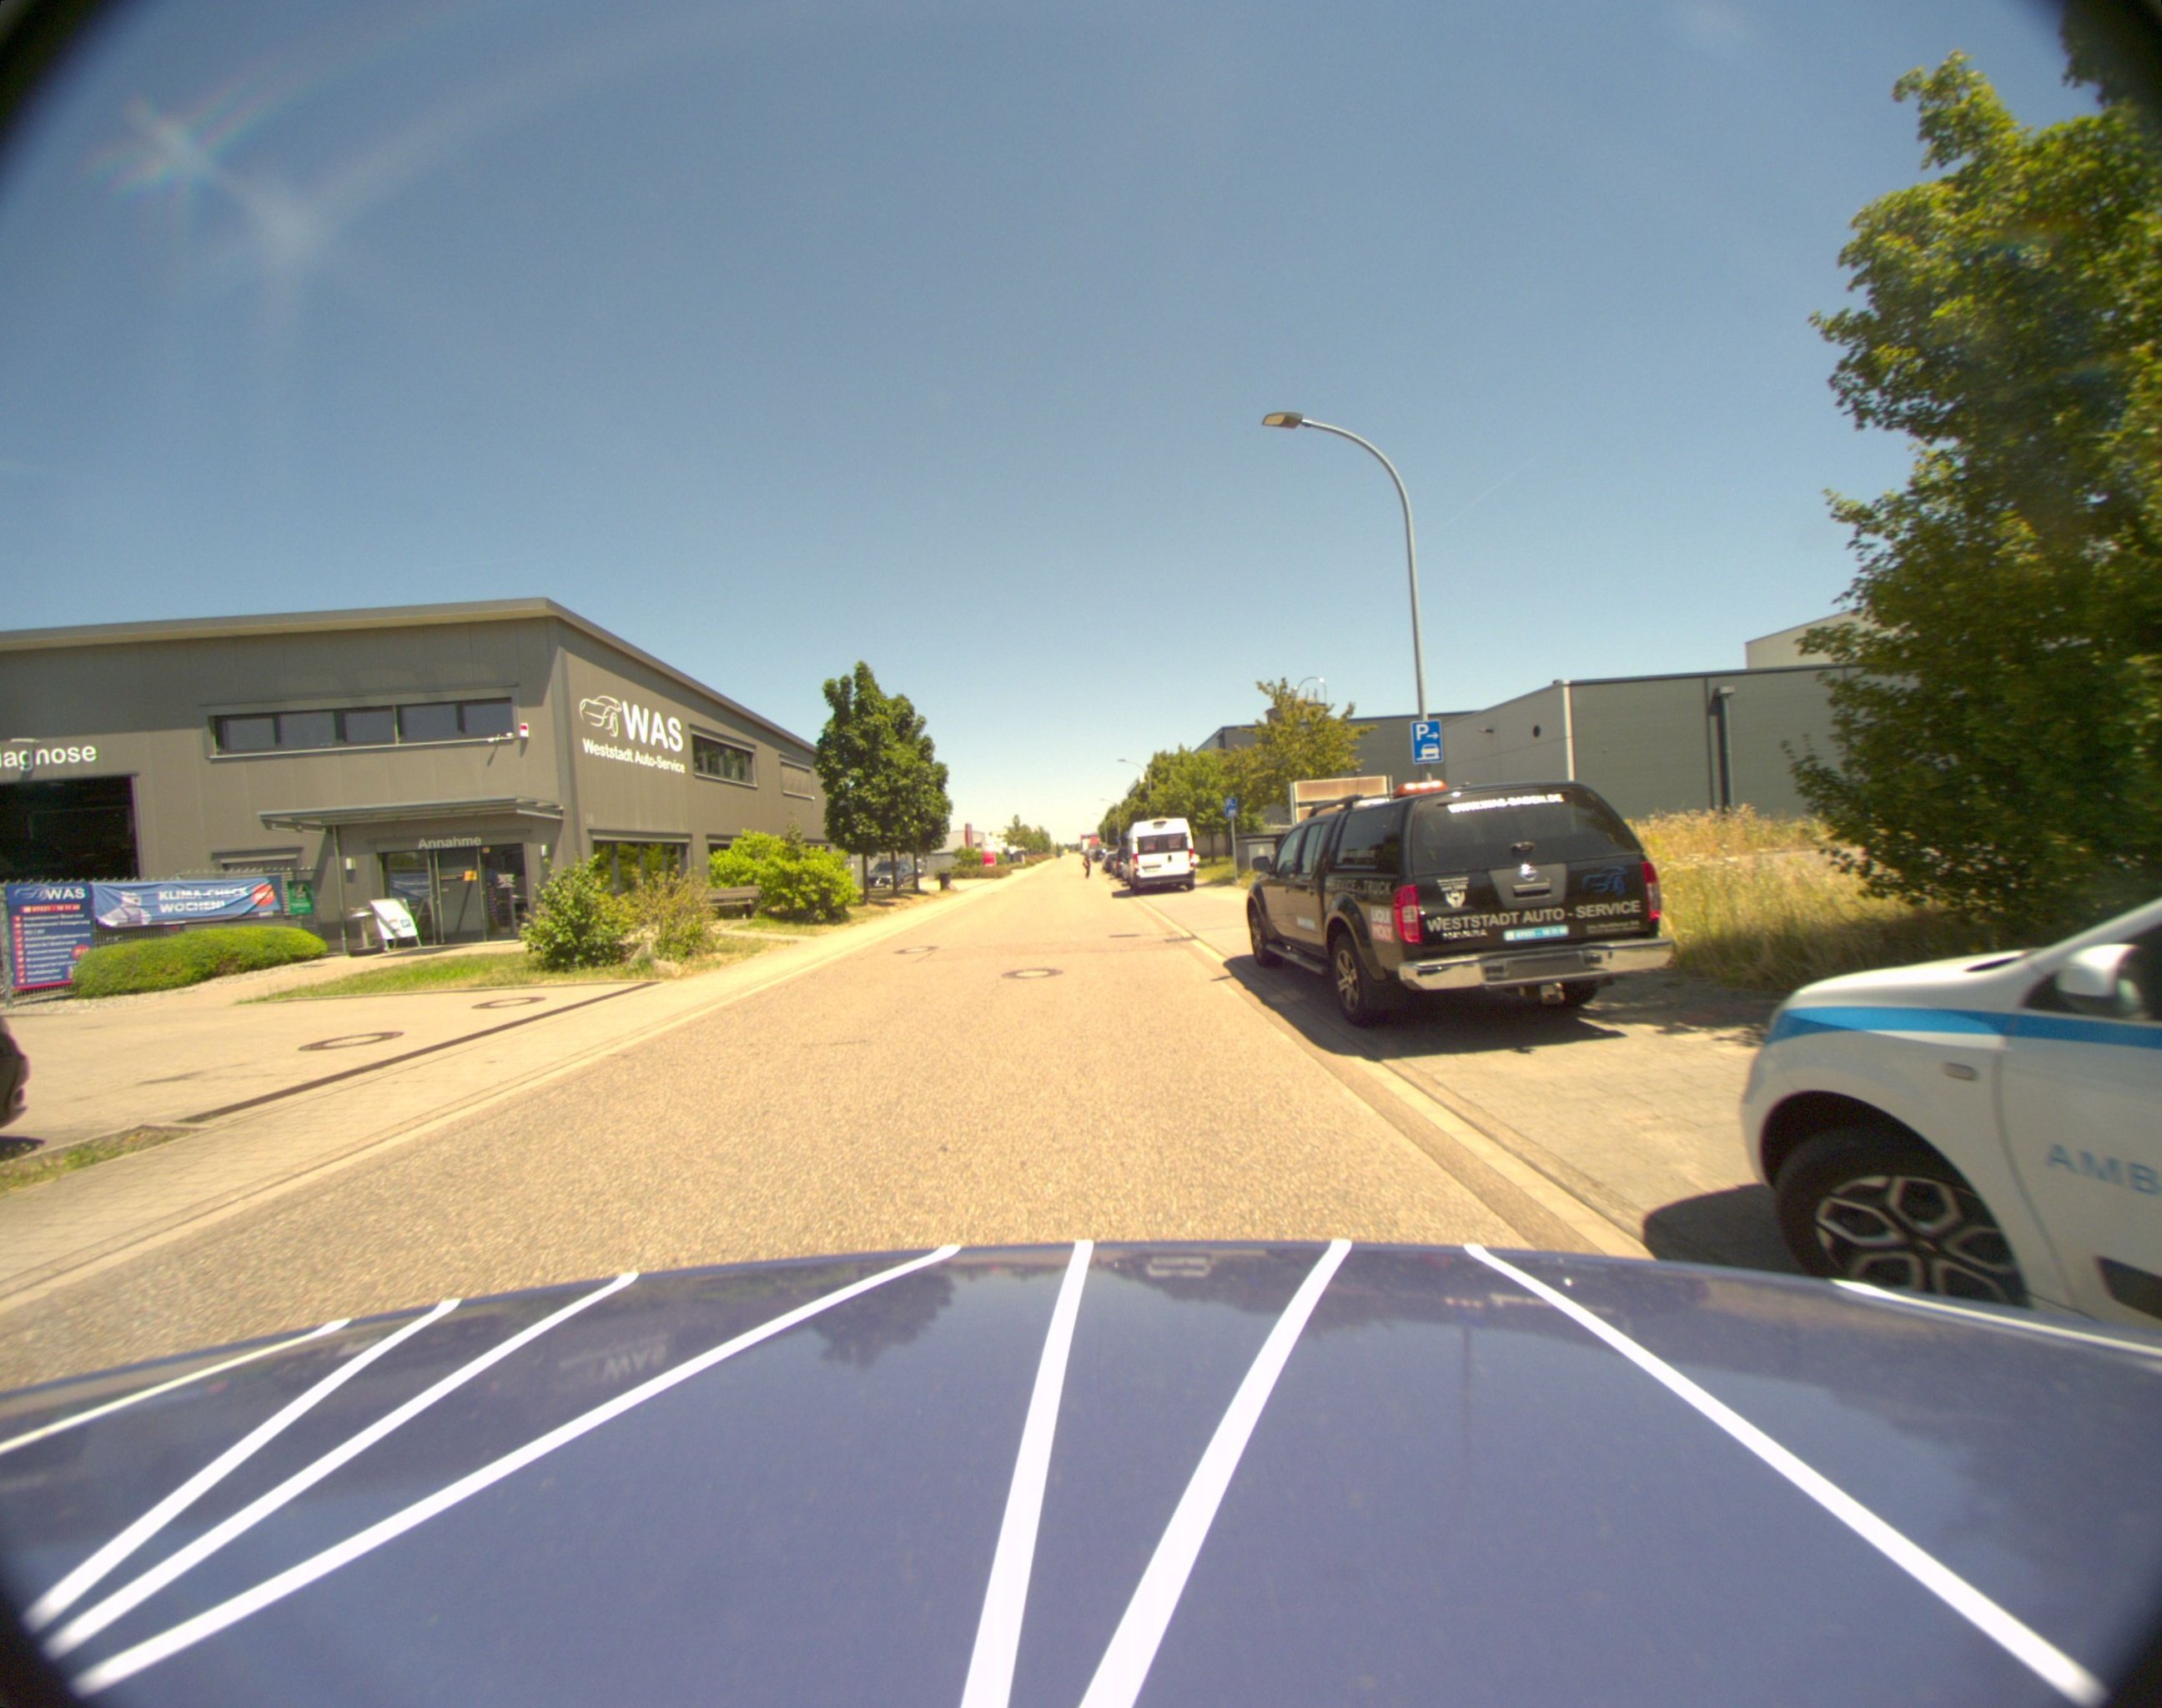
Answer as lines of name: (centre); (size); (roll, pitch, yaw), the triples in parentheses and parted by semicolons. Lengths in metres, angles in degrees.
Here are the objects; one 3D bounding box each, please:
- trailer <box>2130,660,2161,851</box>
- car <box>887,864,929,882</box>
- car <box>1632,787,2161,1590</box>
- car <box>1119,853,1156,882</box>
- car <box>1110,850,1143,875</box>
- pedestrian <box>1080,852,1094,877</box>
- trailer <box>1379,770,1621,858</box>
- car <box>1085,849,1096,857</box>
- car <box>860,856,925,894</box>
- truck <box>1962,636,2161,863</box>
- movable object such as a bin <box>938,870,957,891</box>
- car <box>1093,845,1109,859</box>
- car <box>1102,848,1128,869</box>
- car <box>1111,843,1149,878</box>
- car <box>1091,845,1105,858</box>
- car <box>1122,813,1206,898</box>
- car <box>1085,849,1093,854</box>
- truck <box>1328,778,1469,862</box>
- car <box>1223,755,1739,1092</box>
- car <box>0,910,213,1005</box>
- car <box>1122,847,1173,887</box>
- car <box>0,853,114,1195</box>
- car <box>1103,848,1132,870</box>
trailer: (30.754, -2.516, 15.077); (15.360, 4.064, 3.219); (-3, 1, 0)
car: (-15.622, 1.695, 68.747); (3.360, 1.361, 1.792); (-5, 1, -5)
car: (3.046, 0.625, 0.897); (1.856, 1.542, 3.766); (-5, 1, -2)
car: (2.929, 0.670, 39.978); (1.648, 1.303, 4.000); (-5, 0, 2)
car: (3.014, 0.539, 51.407); (1.798, 1.456, 4.451); (-5, 0, 0)
pedestrian: (0.382, 0.653, 49.017); (0.681, 1.559, 0.534); (-4, 1, -12)
trailer: (23.145, -2.207, 42.031); (12.540, 3.948, 3.153); (-4, 1, -12)
car: (1.696, -0.166, 141.740); (1.799, 1.319, 3.830); (-5, 0, -1)
car: (-10.287, 1.109, 41.898); (2.157, 1.800, 4.914); (-3, 1, 2)
truck: (22.438, -2.049, 15.053); (6.121, 4.064, 3.219); (-3, 1, 0)
movable object such as a bin: (-6.971, 1.374, 39.673); (0.616, 1.040, 0.810); (-3, 1, 12)
car: (2.570, -0.298, 100.095); (1.799, 1.638, 3.830); (-5, 1, -1)
car: (2.800, 0.354, 63.328); (1.799, 1.477, 4.189); (-5, 0, -1)
car: (2.848, 0.368, 44.961); (1.835, 1.800, 4.082); (-5, 1, 1)
car: (2.475, -0.366, 110.845); (1.799, 1.701, 3.830); (-5, 1, -1)
car: (2.917, 0.027, 28.227); (2.328, 2.583, 6.084); (-5, 1, 1)
car: (2.101, -0.728, 203.993); (1.799, 1.319, 3.830); (-5, 0, -1)
truck: (16.916, -1.780, 40.692); (6.055, 3.948, 3.153); (-4, 1, -12)
car: (2.965, 0.409, 7.356); (1.979, 1.890, 5.401); (-5, 0, 0)
car: (-18.787, 1.868, 13.901); (1.589, 1.298, 3.570); (-2, 1, 1)
car: (2.974, 0.541, 34.945); (1.835, 1.532, 4.624); (-5, 0, 1)
car: (-7.387, 1.071, 2.274); (1.998, 2.002, 5.336); (-4, 0, 0)
car: (2.696, 0.354, 57.533); (1.799, 1.477, 4.451); (-5, 0, -1)
